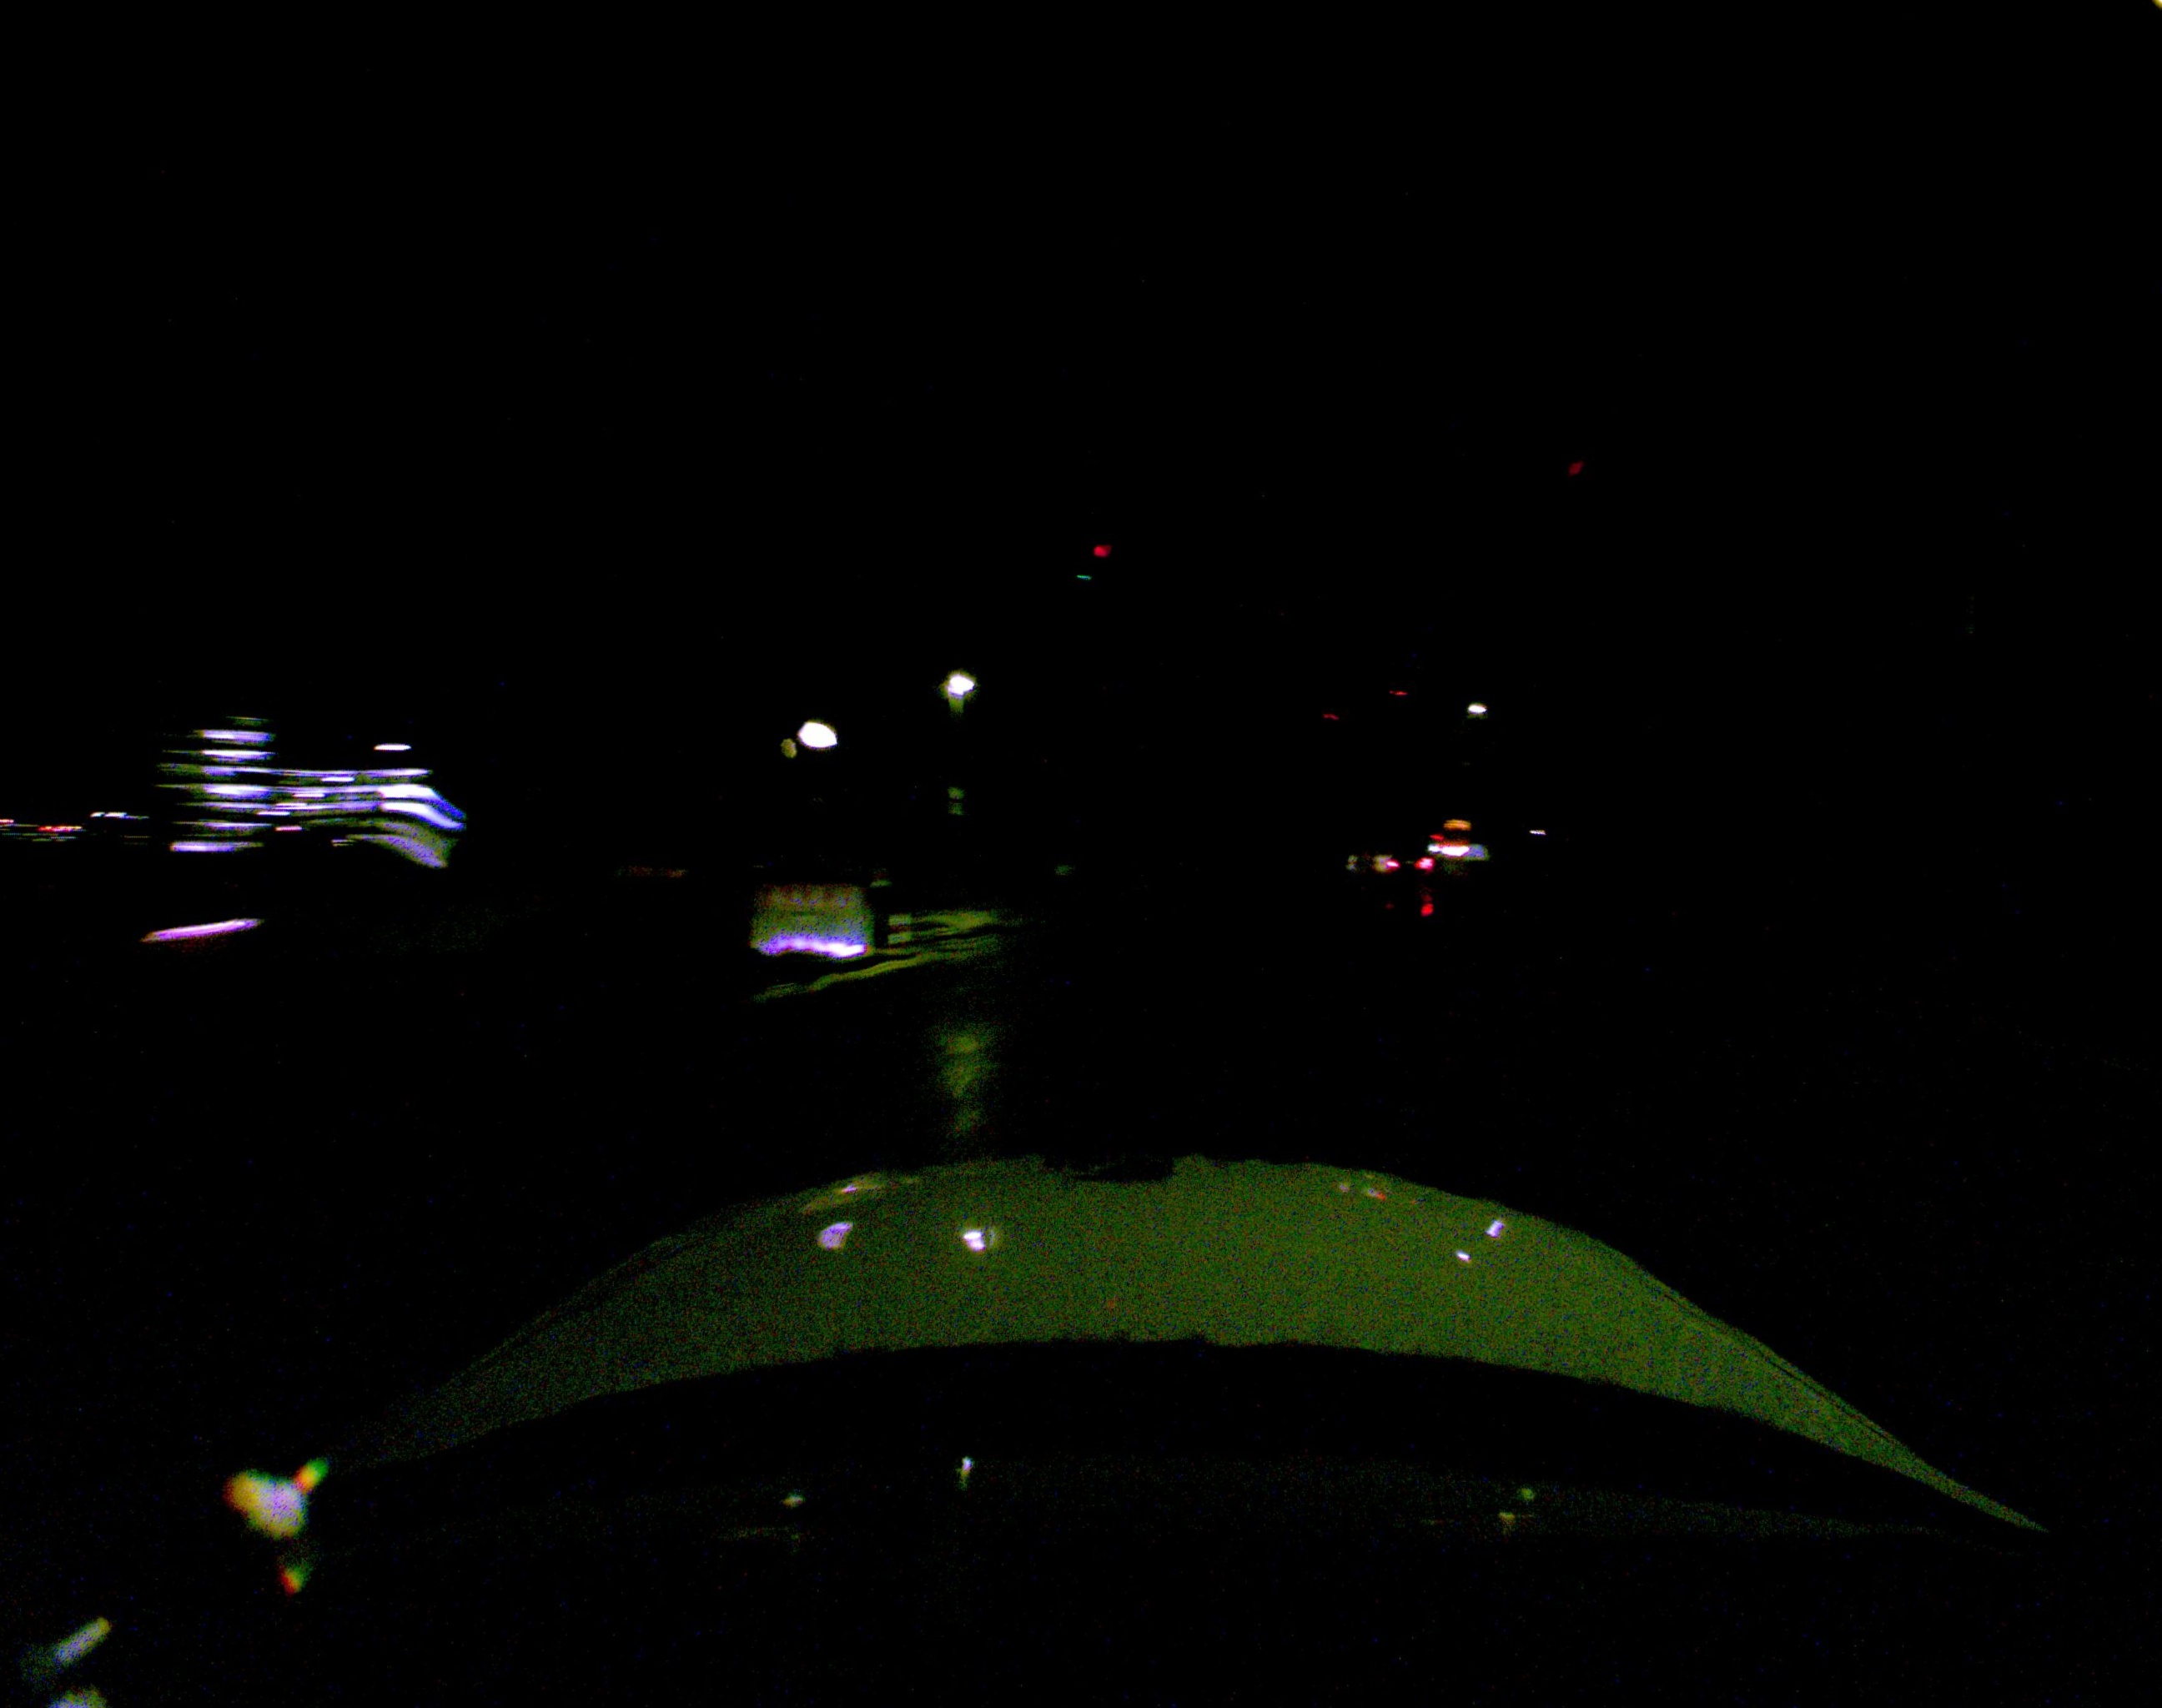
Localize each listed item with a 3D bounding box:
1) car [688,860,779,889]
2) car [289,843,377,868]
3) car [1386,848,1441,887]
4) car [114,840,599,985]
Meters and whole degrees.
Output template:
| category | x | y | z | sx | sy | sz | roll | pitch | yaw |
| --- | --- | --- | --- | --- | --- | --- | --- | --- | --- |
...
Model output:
| category | x | y | z | sx | sy | sz | roll | pitch | yaw |
| --- | --- | --- | --- | --- | --- | --- | --- | --- | --- |
| car | -17.083 | 0.967 | 40.127 | 3.840 | 1.335 | 1.519 | 0 | 0 | -39 |
| car | -53.127 | 0.136 | 57.892 | 1.975 | 1.621 | 4.458 | 1 | -1 | 43 |
| car | 15.984 | 0.622 | 39.040 | 1.975 | 1.683 | 4.024 | 3 | 1 | 28 |
| car | -9.026 | 0.659 | 10.556 | 1.974 | 1.455 | 4.330 | -5 | -3 | 34 |
